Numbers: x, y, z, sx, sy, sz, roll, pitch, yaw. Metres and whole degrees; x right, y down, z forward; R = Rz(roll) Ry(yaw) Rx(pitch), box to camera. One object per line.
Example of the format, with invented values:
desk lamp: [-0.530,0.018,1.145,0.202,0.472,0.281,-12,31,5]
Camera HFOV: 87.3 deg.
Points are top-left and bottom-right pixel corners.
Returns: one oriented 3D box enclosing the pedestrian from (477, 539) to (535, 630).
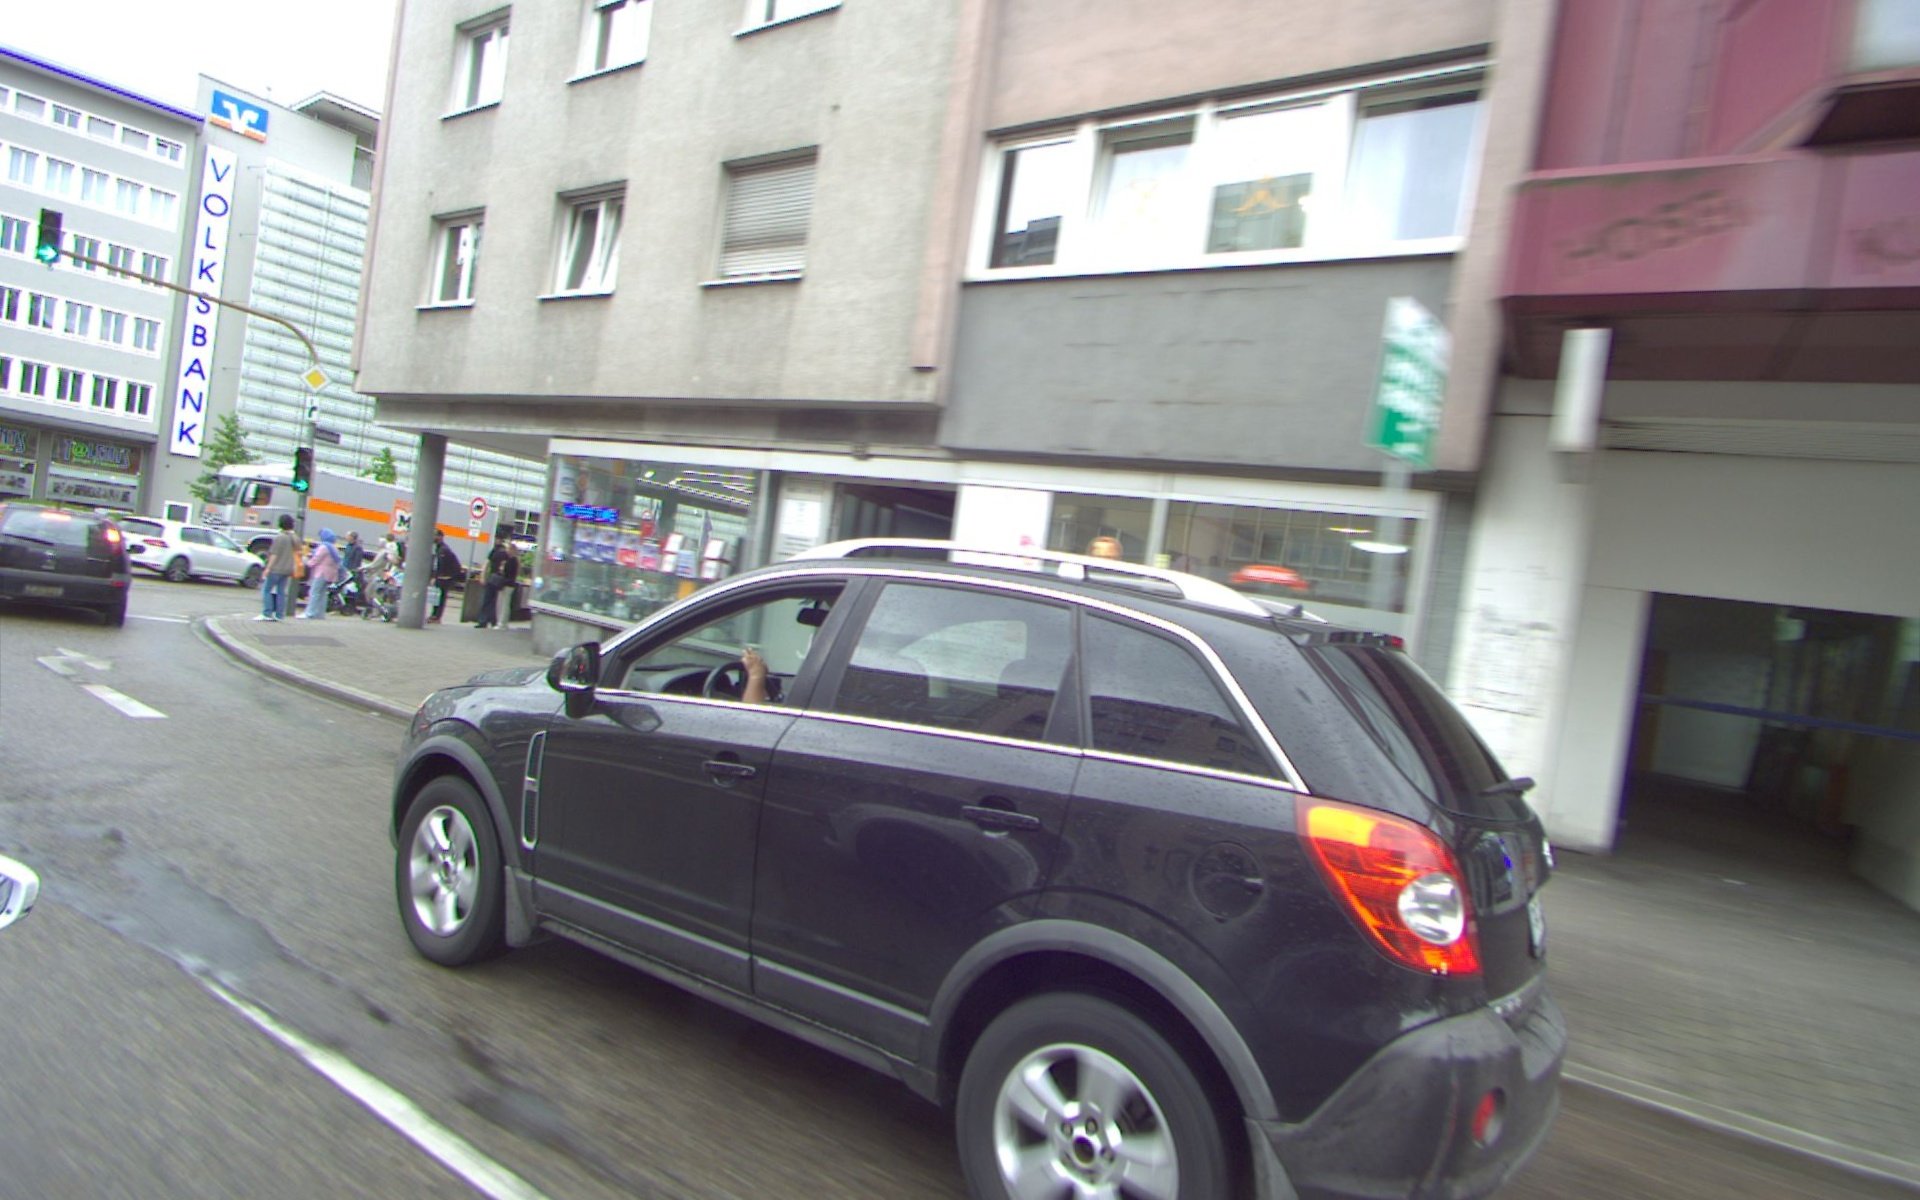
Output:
pedestrian: [-8.611,-0.295,19.070,0.826,1.658,0.615,5,2,36]

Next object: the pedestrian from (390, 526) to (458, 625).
pedestrian: [-9.987,-0.454,18.754,0.609,1.743,0.834,5,-1,40]

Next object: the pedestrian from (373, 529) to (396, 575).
pedestrian: [-11.242,-0.941,19.662,0.219,0.856,0.436,10,-2,-37]

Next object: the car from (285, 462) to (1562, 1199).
car: [-0.342,0.706,3.755,4.230,1.807,1.910,9,0,32]

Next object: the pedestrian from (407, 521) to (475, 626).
pedestrian: [-10.242,-0.517,19.846,0.721,1.955,0.817,6,0,40]

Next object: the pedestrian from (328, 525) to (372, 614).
pedestrian: [-13.381,-0.657,22.082,0.613,1.890,0.778,3,-1,-42]

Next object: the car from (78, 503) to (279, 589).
car: [-19.961,-1.295,25.952,1.922,1.591,4.000,10,-1,-2]

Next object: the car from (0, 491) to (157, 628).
car: [-12.513,-0.651,13.391,3.710,1.435,1.721,7,-4,35]

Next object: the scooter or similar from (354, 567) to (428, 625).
scooter or similar: [-10.803,-0.078,19.116,1.031,0.998,0.771,4,-1,32]

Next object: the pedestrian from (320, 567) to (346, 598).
pedestrian: [-12.899,-0.364,20.695,0.369,0.578,0.453,5,1,-39]

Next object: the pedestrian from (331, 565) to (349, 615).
pedestrian: [-13.093,-0.210,21.236,0.258,1.013,0.467,2,3,-35]

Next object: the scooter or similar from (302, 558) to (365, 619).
scooter or similar: [-12.885,-0.234,20.685,0.965,1.123,0.648,5,1,-39]

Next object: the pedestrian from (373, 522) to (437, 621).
pedestrian: [-11.034,-0.557,20.017,0.648,1.889,0.835,4,1,36]

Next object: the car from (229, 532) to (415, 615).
car: [-16.422,-0.614,26.184,1.921,1.591,4.003,10,-1,3]

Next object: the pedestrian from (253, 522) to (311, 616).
pedestrian: [-12.362,-0.565,18.331,0.825,1.658,0.539,4,1,32]

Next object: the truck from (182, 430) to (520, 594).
truck: [-23.371,-3.168,39.591,2.811,4.383,10.747,8,-1,36]

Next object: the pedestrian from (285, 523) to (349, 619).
pedestrian: [-11.613,-0.514,18.194,0.734,1.655,0.594,4,0,-16]

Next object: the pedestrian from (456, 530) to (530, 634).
pedestrian: [-9.096,-0.339,19.612,0.822,1.887,0.667,9,-1,12]

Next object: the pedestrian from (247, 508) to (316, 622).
pedestrian: [-10.774,-0.547,15.998,0.619,1.713,0.778,5,0,-22]

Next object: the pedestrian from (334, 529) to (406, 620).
pedestrian: [-12.362,-0.530,21.072,1.031,1.744,0.828,6,1,-41]
